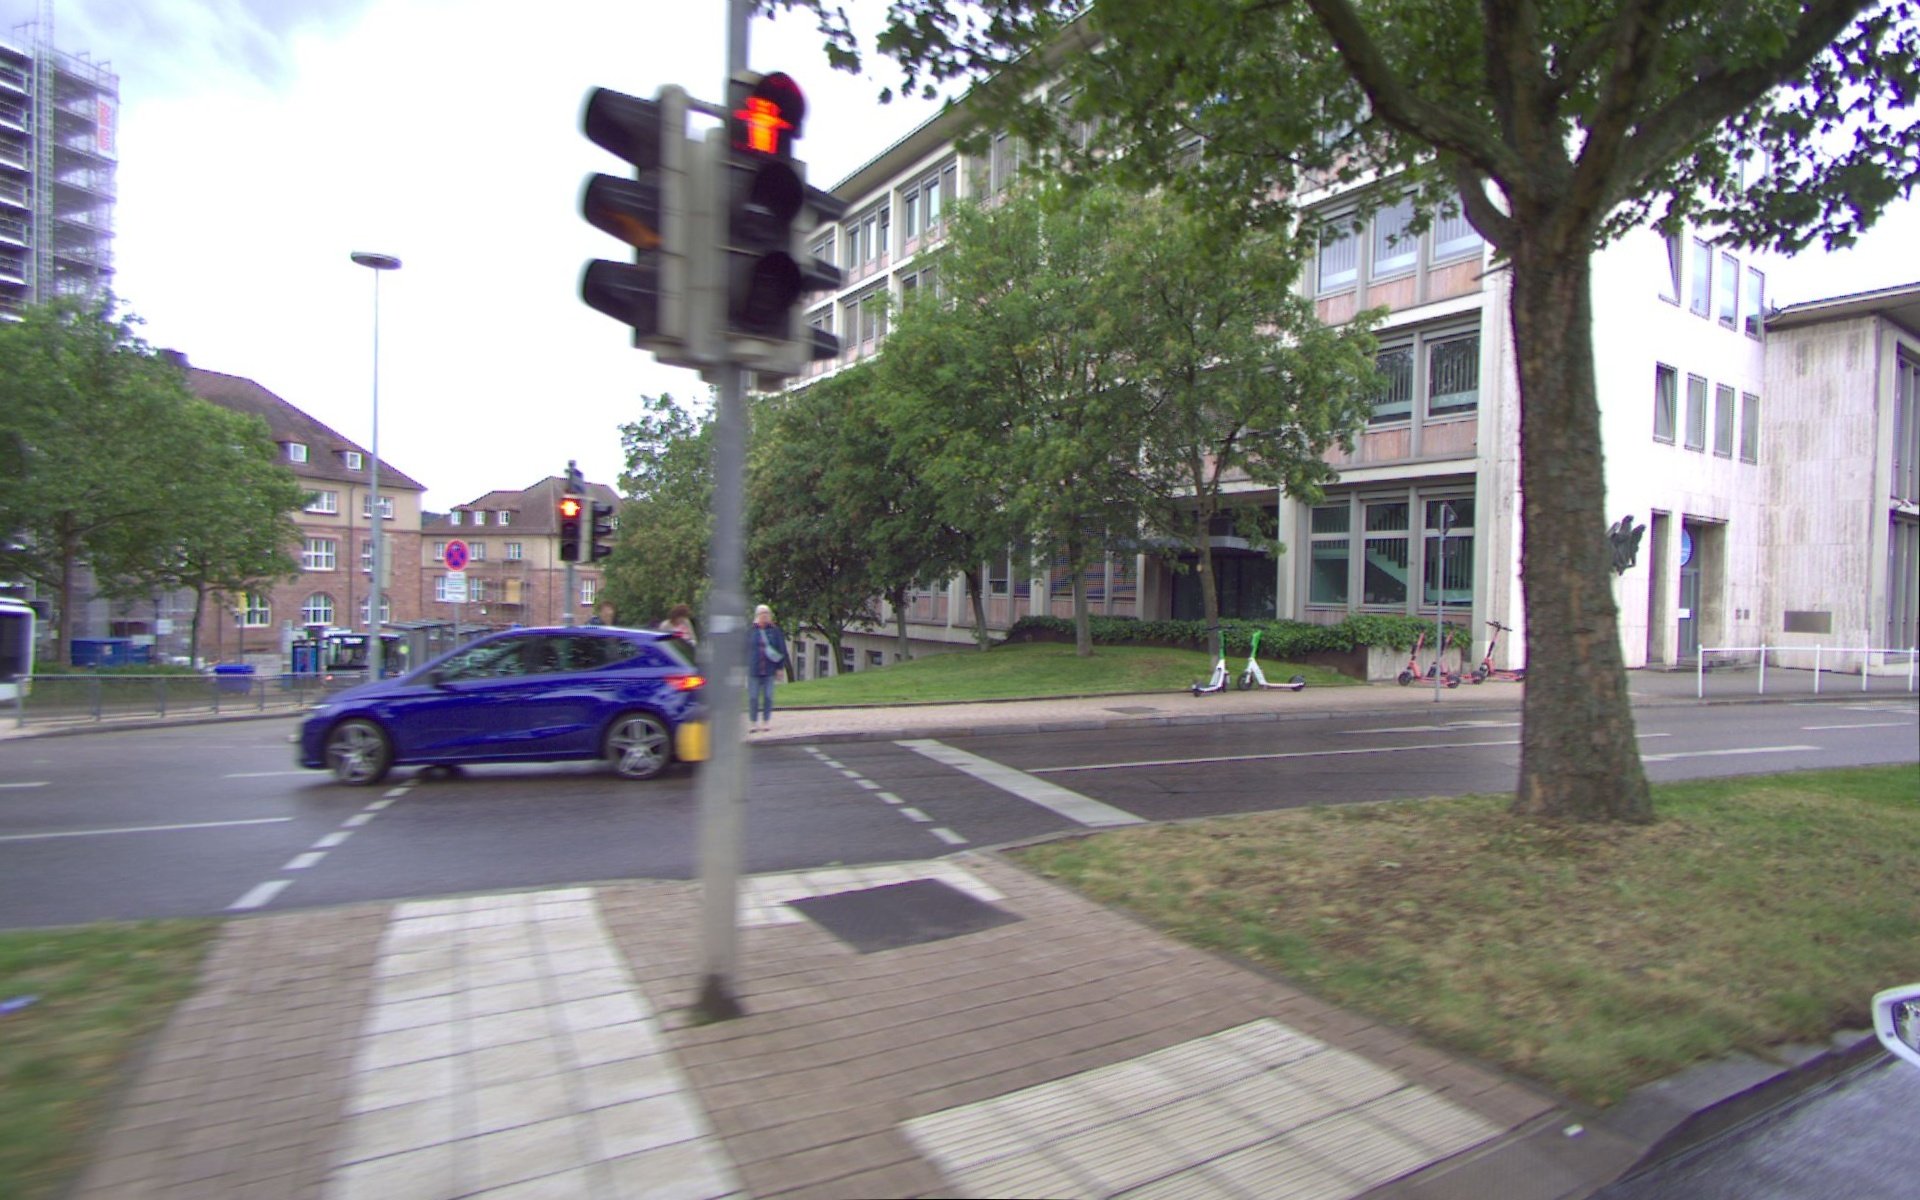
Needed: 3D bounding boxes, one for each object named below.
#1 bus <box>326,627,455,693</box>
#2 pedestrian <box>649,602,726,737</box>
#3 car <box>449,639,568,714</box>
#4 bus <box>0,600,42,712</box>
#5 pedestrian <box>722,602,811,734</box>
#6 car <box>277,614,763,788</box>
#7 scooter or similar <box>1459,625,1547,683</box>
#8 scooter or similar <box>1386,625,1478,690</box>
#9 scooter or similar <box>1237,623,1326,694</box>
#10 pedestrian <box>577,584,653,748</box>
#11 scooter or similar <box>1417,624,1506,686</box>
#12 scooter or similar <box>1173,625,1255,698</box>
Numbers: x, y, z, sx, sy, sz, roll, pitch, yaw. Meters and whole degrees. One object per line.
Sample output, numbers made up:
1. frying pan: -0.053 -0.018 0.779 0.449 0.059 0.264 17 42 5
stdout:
1. bus: -32.605 3.299 58.238 2.838 3.237 11.949 1 -1 -11
2. pedestrian: -3.631 0.902 13.402 0.790 1.733 0.648 1 -1 -38
3. car: -12.903 2.145 29.017 1.964 1.990 4.583 1 -3 -9
4. bus: -26.943 1.234 22.742 2.837 3.058 11.959 1 -4 -9
5. pedestrian: -2.495 0.852 12.942 0.918 1.624 0.647 1 -1 -42
6. car: -4.095 0.934 9.991 4.026 1.528 1.846 0 -2 -6
7. scooter or similar: 11.362 1.120 21.057 1.497 1.180 0.609 1 0 3
8. scooter or similar: 9.188 1.109 19.603 1.497 1.208 0.609 1 0 3
9. scooter or similar: 5.742 1.026 17.928 1.554 1.208 0.567 1 0 -27
10. pedestrian: -4.563 0.843 13.263 0.861 2.073 0.933 1 -1 -23
11. scooter or similar: 10.203 1.109 20.450 1.497 1.208 0.609 1 0 3
12. scooter or similar: 4.326 1.018 17.047 1.487 1.183 0.485 1 0 -35
